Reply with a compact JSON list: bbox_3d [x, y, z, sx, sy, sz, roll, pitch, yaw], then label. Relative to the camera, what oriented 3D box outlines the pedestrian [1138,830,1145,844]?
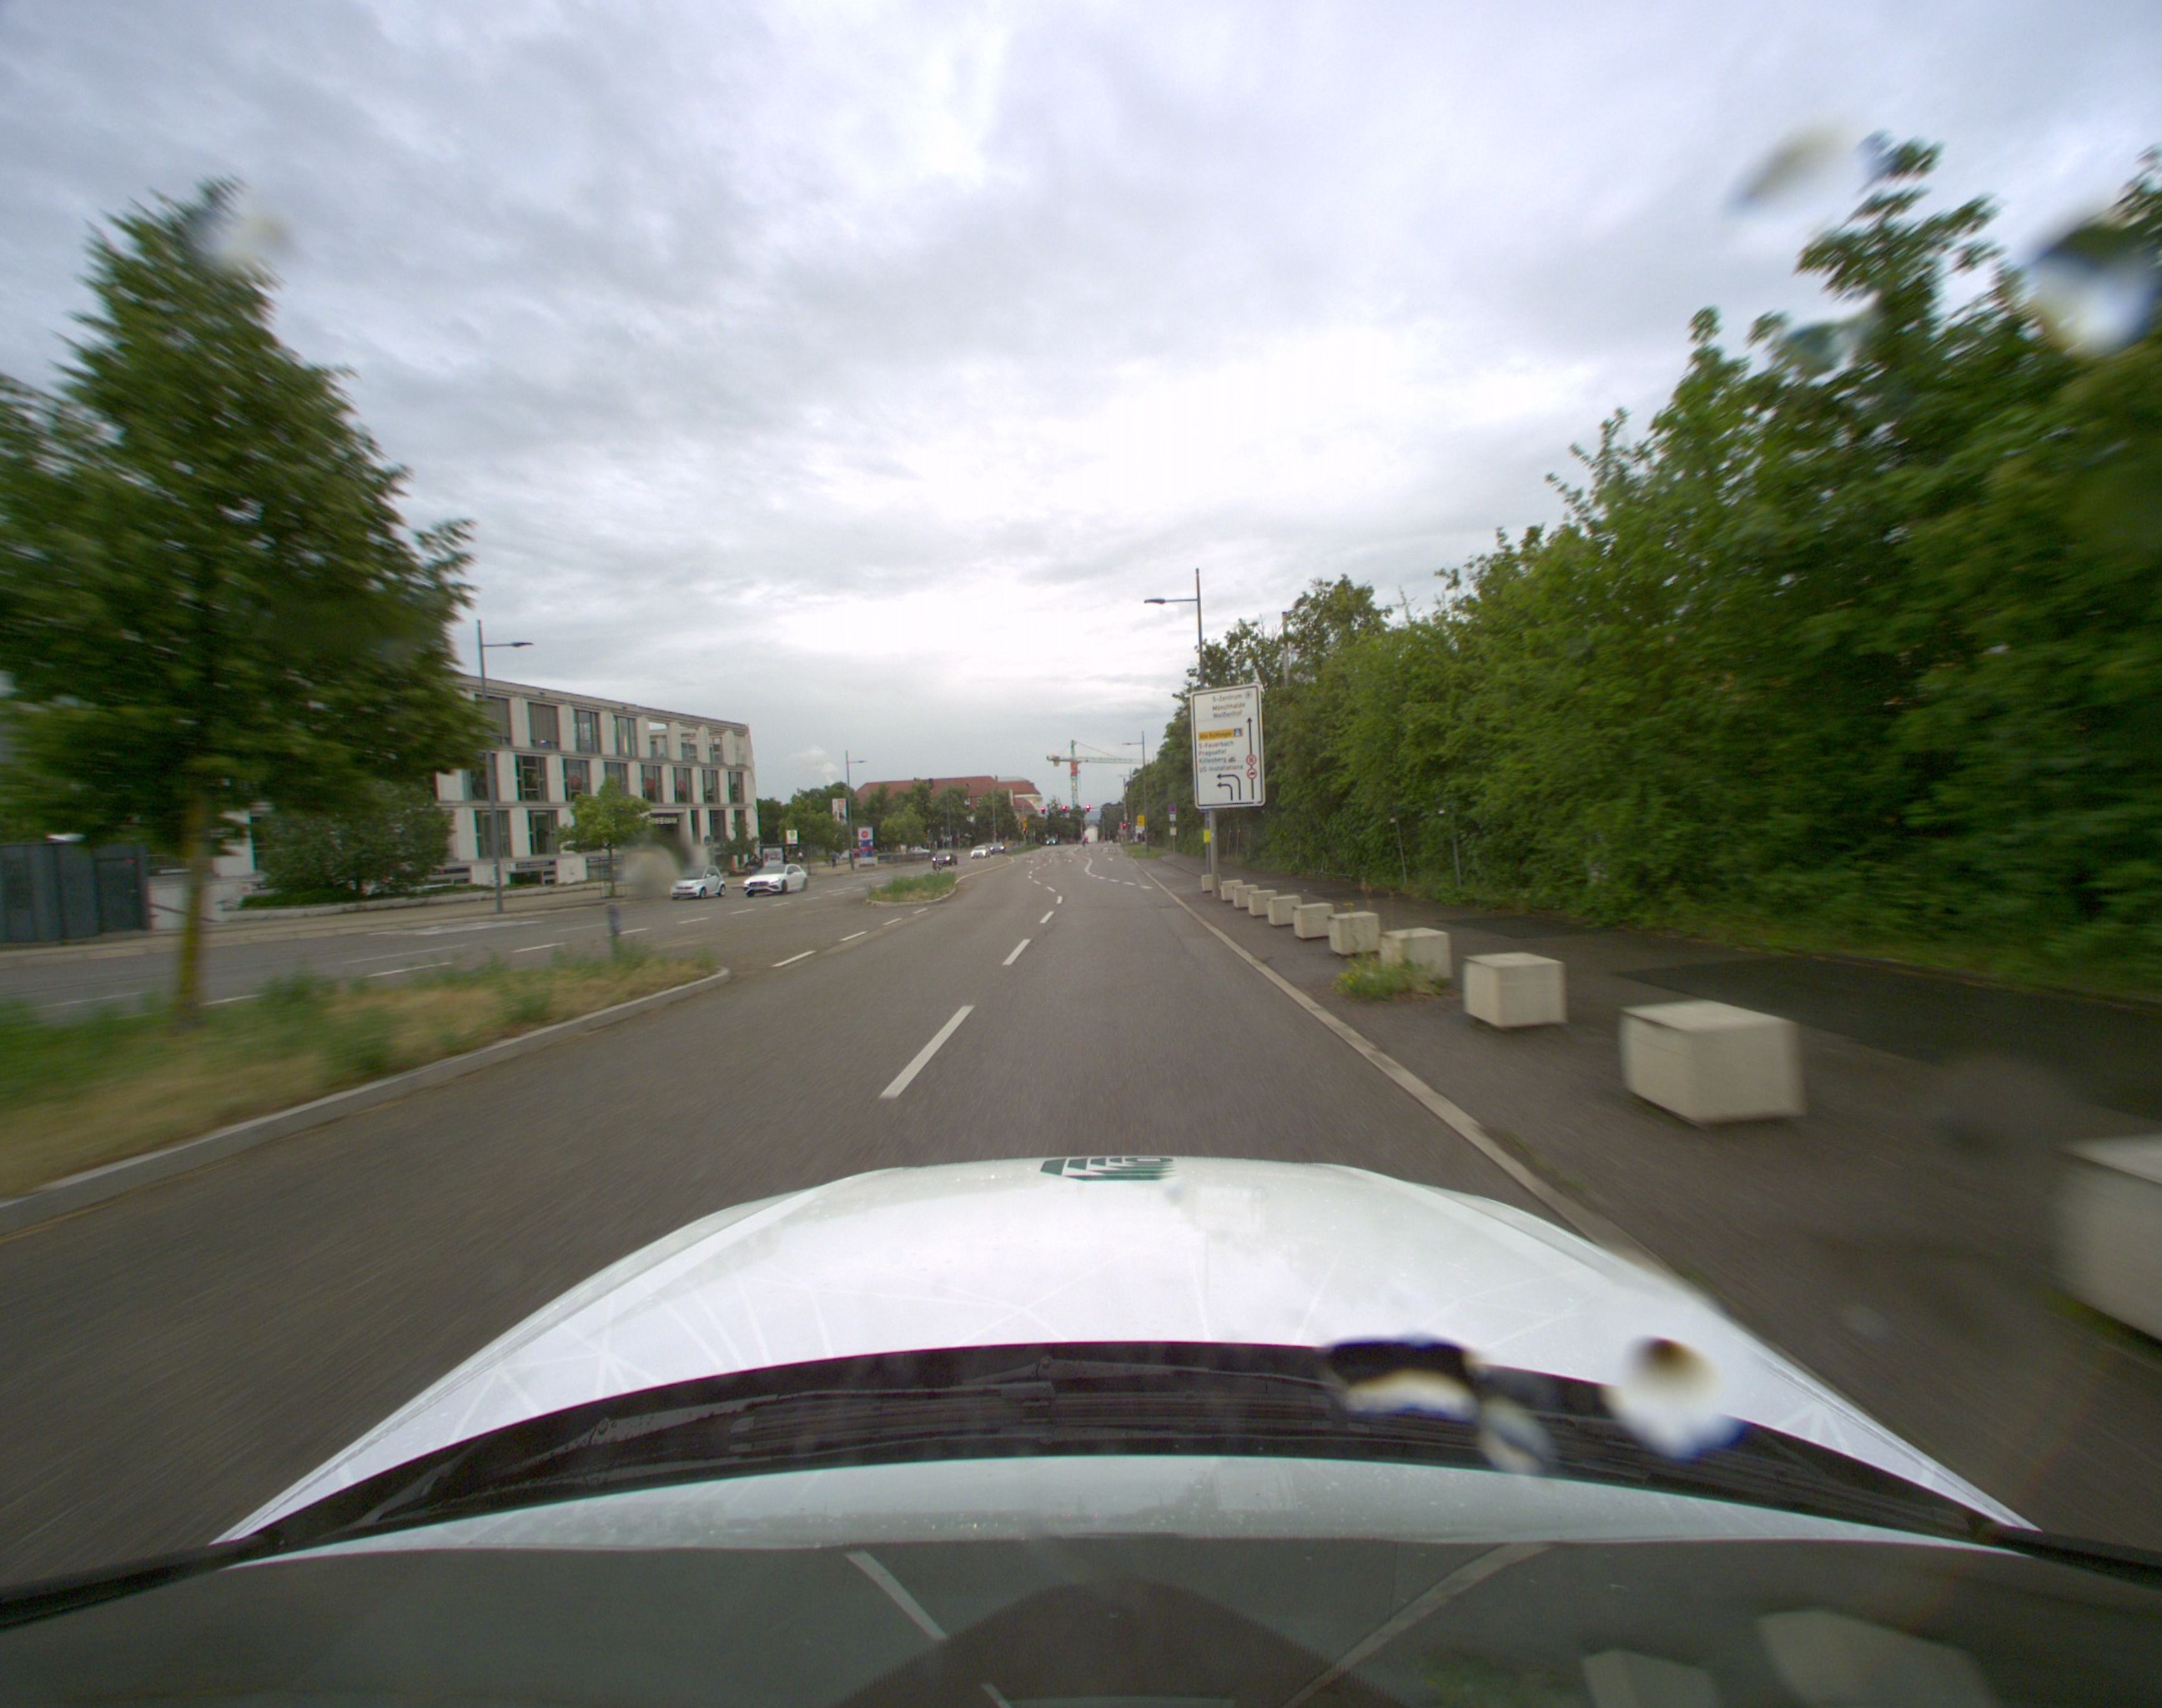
[{"bbox_3d":[7.436,-2.134,100.516,0.674,1.657,0.792,-3,1,-4],"label":"pedestrian"}]

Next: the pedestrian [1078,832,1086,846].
[{"bbox_3d":[0.181,-2.207,117.954,0.935,2.013,0.849,-5,1,7],"label":"pedestrian"}]

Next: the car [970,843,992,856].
[{"bbox_3d":[-12.070,-0.574,98.124,1.866,1.429,4.178,-5,0,2],"label":"car"}]

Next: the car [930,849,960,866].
[{"bbox_3d":[-12.547,0.301,75.342,1.839,1.462,3.869,-4,0,2],"label":"car"}]

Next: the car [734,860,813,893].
[{"bbox_3d":[-14.944,1.060,39.885,1.986,1.418,4.515,-2,0,2],"label":"car"}]

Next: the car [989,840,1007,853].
[{"bbox_3d":[-11.798,-1.077,115.989,1.825,1.572,4.596,-5,0,2],"label":"car"}]

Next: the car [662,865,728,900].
[{"bbox_3d":[-18.492,1.328,39.121,1.607,1.508,2.974,-1,0,2],"label":"car"}]

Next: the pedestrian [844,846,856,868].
[{"bbox_3d":[-20.067,0.243,70.799,0.750,1.842,0.747,-3,1,4],"label":"pedestrian"}]

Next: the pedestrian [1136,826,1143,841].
[{"bbox_3d":[7.533,-2.593,104.818,0.639,1.900,0.717,-3,1,-4],"label":"pedestrian"}]

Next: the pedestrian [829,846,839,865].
[{"bbox_3d":[-22.982,0.162,75.785,0.596,1.762,0.858,-3,1,4],"label":"pedestrian"}]

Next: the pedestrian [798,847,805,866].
[{"bbox_3d":[-25.117,0.198,73.167,0.498,1.690,0.911,-3,1,-15],"label":"pedestrian"}]

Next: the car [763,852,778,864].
[{"bbox_3d":[-48.835,0.644,128.101,1.783,1.731,3.966,-3,1,-26],"label":"car"}]

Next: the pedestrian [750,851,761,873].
[{"bbox_3d":[-25.563,0.628,63.980,0.522,1.725,0.567,-3,1,4],"label":"pedestrian"}]

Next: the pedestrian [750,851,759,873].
[{"bbox_3d":[-26.245,0.614,65.496,0.424,1.725,0.621,-3,1,2],"label":"pedestrian"}]

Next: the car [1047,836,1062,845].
[{"bbox_3d":[-5.592,-2.860,171.542,1.977,1.838,4.019,-1,0,18],"label":"car"}]

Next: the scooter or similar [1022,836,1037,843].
[{"bbox_3d":[-11.256,-3.111,177.971,3.078,1.440,0.949,-3,1,0],"label":"scooter or similar"}]

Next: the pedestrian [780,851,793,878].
[{"bbox_3d":[-20.876,0.753,57.765,0.505,1.842,0.756,-3,1,1],"label":"pedestrian"}]
